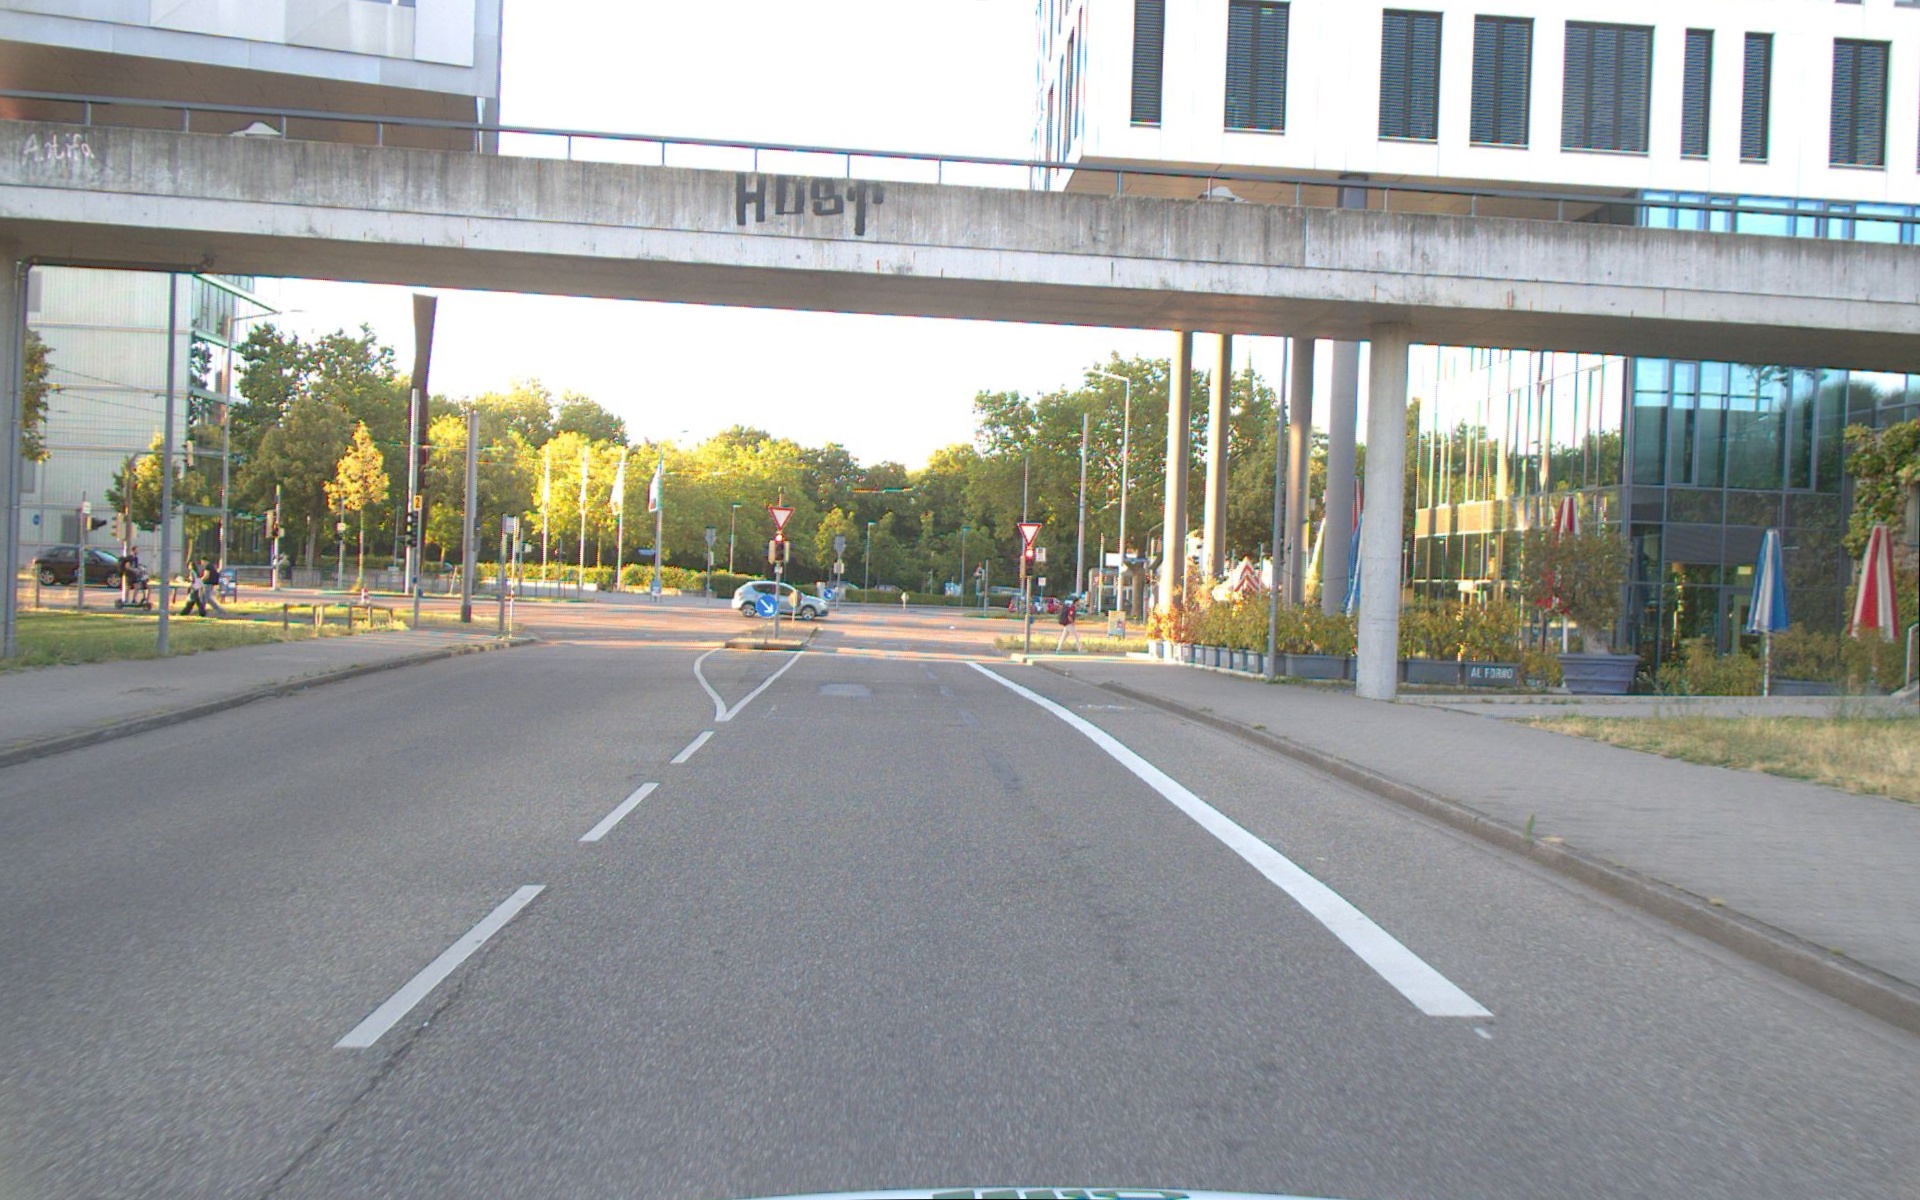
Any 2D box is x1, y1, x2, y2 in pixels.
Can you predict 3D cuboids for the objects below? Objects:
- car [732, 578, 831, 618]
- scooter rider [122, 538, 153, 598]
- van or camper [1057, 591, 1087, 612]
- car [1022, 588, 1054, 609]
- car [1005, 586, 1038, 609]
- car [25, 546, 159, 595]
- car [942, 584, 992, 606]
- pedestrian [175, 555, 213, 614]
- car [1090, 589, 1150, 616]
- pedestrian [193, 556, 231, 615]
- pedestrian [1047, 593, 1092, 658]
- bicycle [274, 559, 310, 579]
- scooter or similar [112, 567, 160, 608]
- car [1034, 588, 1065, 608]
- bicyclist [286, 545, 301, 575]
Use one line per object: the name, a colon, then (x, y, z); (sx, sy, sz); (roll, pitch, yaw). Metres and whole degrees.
car: (-7.326, -0.093, 68.079); (3.945, 1.444, 1.601); (2, 1, -5)
scooter rider: (-25.194, -0.974, 50.652); (0.692, 1.813, 0.442); (2, 1, -7)
van or camper: (11.382, 0.110, 168.350); (1.593, 2.016, 3.802); (3, 2, 27)
car: (6.424, -0.116, 136.194); (1.467, 1.634, 3.402); (3, 2, 23)
car: (4.937, -0.221, 132.572); (1.467, 1.791, 3.402); (3, 2, 23)
car: (-35.694, -1.228, 68.100); (4.379, 1.848, 1.944); (2, 1, -4)
car: (0.686, -0.535, 159.309); (4.586, 1.901, 2.014); (2, 1, 4)
pedestrian: (-21.924, -0.454, 47.339); (0.671, 1.652, 0.712); (2, 1, 15)
car: (12.184, 0.173, 126.086); (4.374, 1.848, 1.946); (2, 1, 3)
pedestrian: (-21.754, -0.421, 48.113); (0.685, 1.693, 0.712); (2, 1, 15)
pedestrian: (3.260, 0.759, 49.305); (1.036, 1.865, 0.891); (2, 1, -16)
bicycle: (-39.787, -1.840, 98.535); (1.940, 1.148, 0.555); (1, 1, -28)
scooter or similar: (-25.235, -0.380, 50.659); (1.190, 1.221, 0.503); (2, 1, -7)
car: (7.613, -0.174, 139.973); (1.467, 1.634, 3.402); (3, 2, 23)
bicyclist: (-39.721, -2.384, 98.531); (0.748, 1.753, 0.547); (1, 1, -28)
